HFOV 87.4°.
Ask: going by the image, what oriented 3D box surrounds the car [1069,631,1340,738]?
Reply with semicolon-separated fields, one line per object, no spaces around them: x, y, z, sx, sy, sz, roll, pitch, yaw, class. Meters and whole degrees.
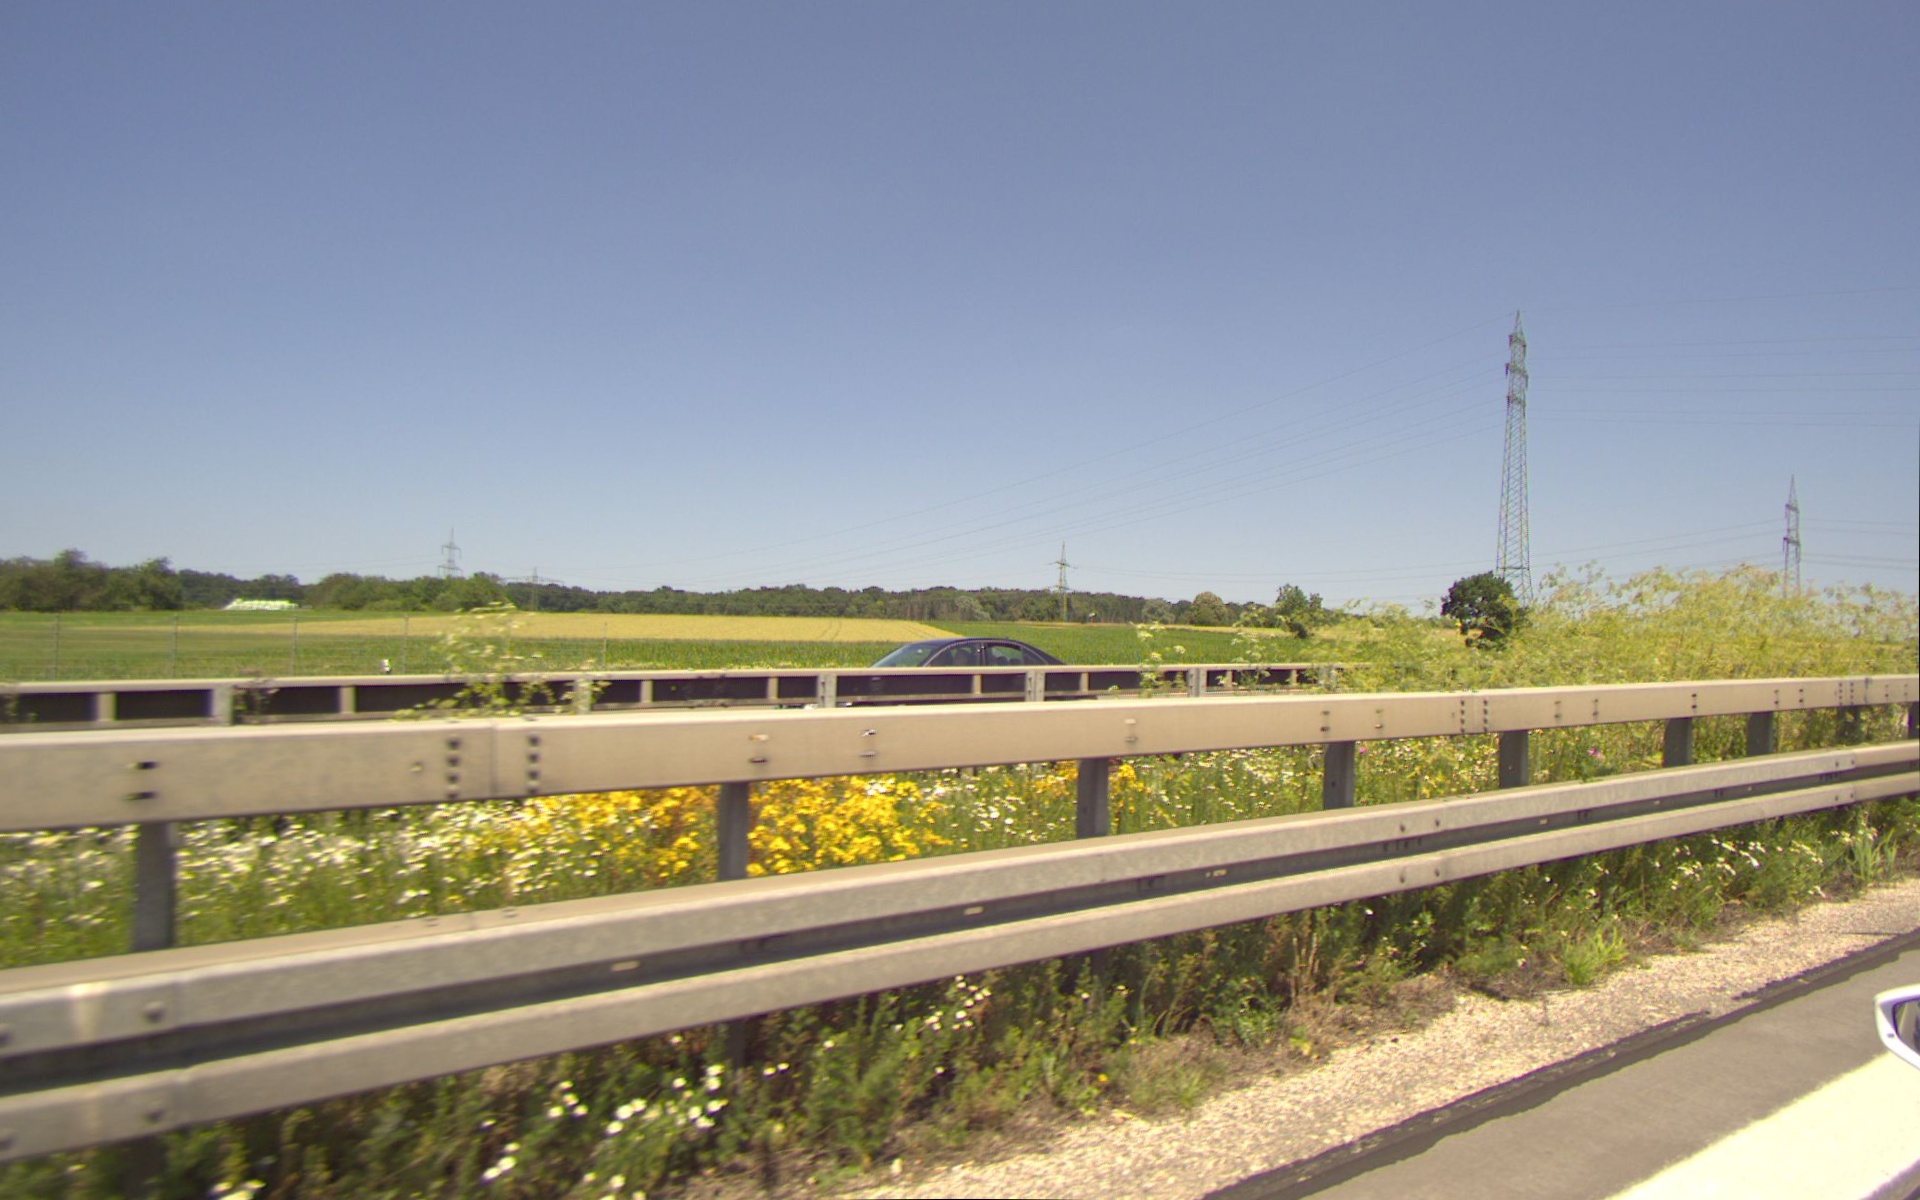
3.816;1.238;15.569;3.953;1.463;1.811;1;-3;-30;car
